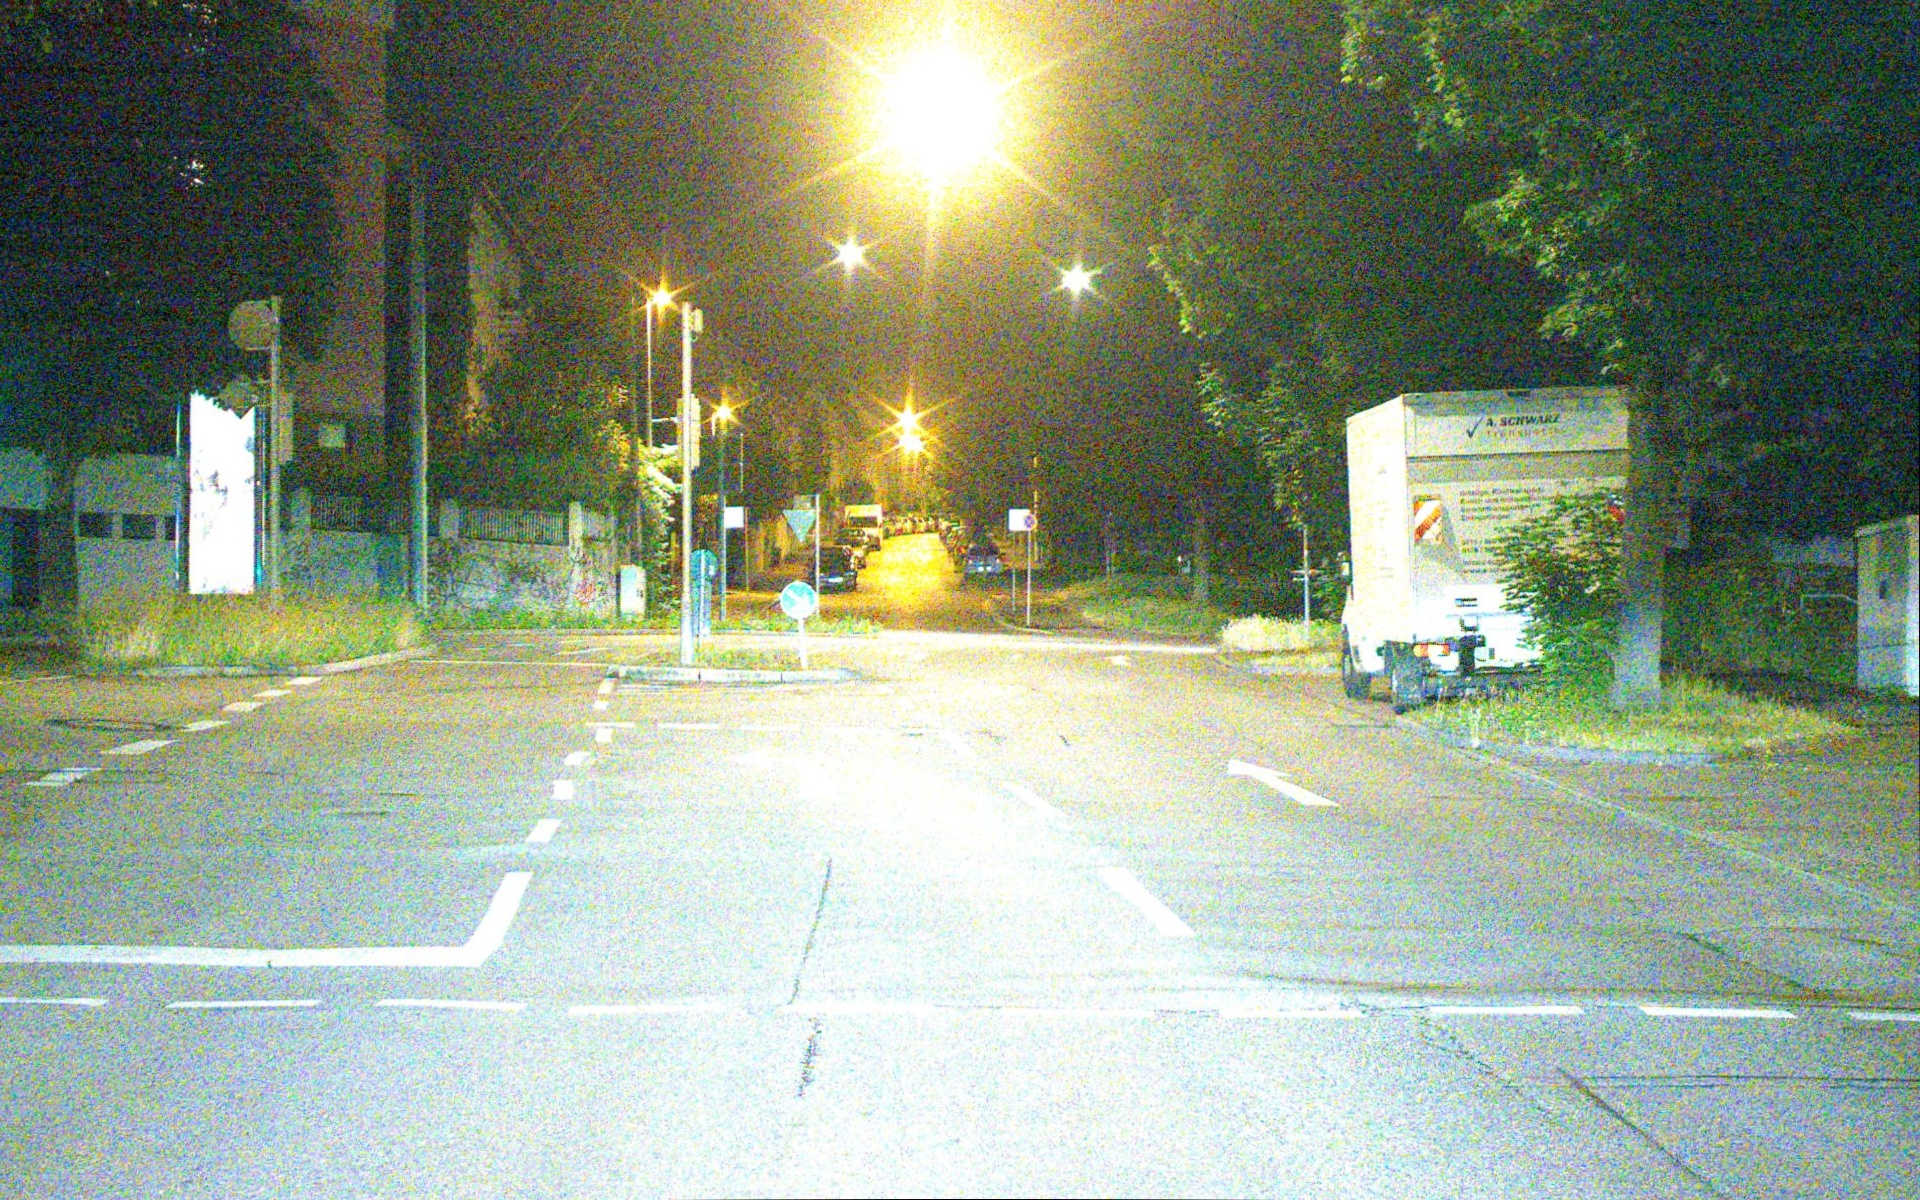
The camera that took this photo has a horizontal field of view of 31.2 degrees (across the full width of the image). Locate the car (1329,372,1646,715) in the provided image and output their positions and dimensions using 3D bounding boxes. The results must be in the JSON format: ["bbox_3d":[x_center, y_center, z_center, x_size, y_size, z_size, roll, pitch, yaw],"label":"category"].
[{"bbox_3d":[5.122,-0.548,34.250,2.297,3.082,5.840,-1,1,1],"label":"car"}]

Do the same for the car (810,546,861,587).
[{"bbox_3d":[-4.848,-1.297,134.342,1.908,1.552,3.904,1,1,-1],"label":"car"}]
